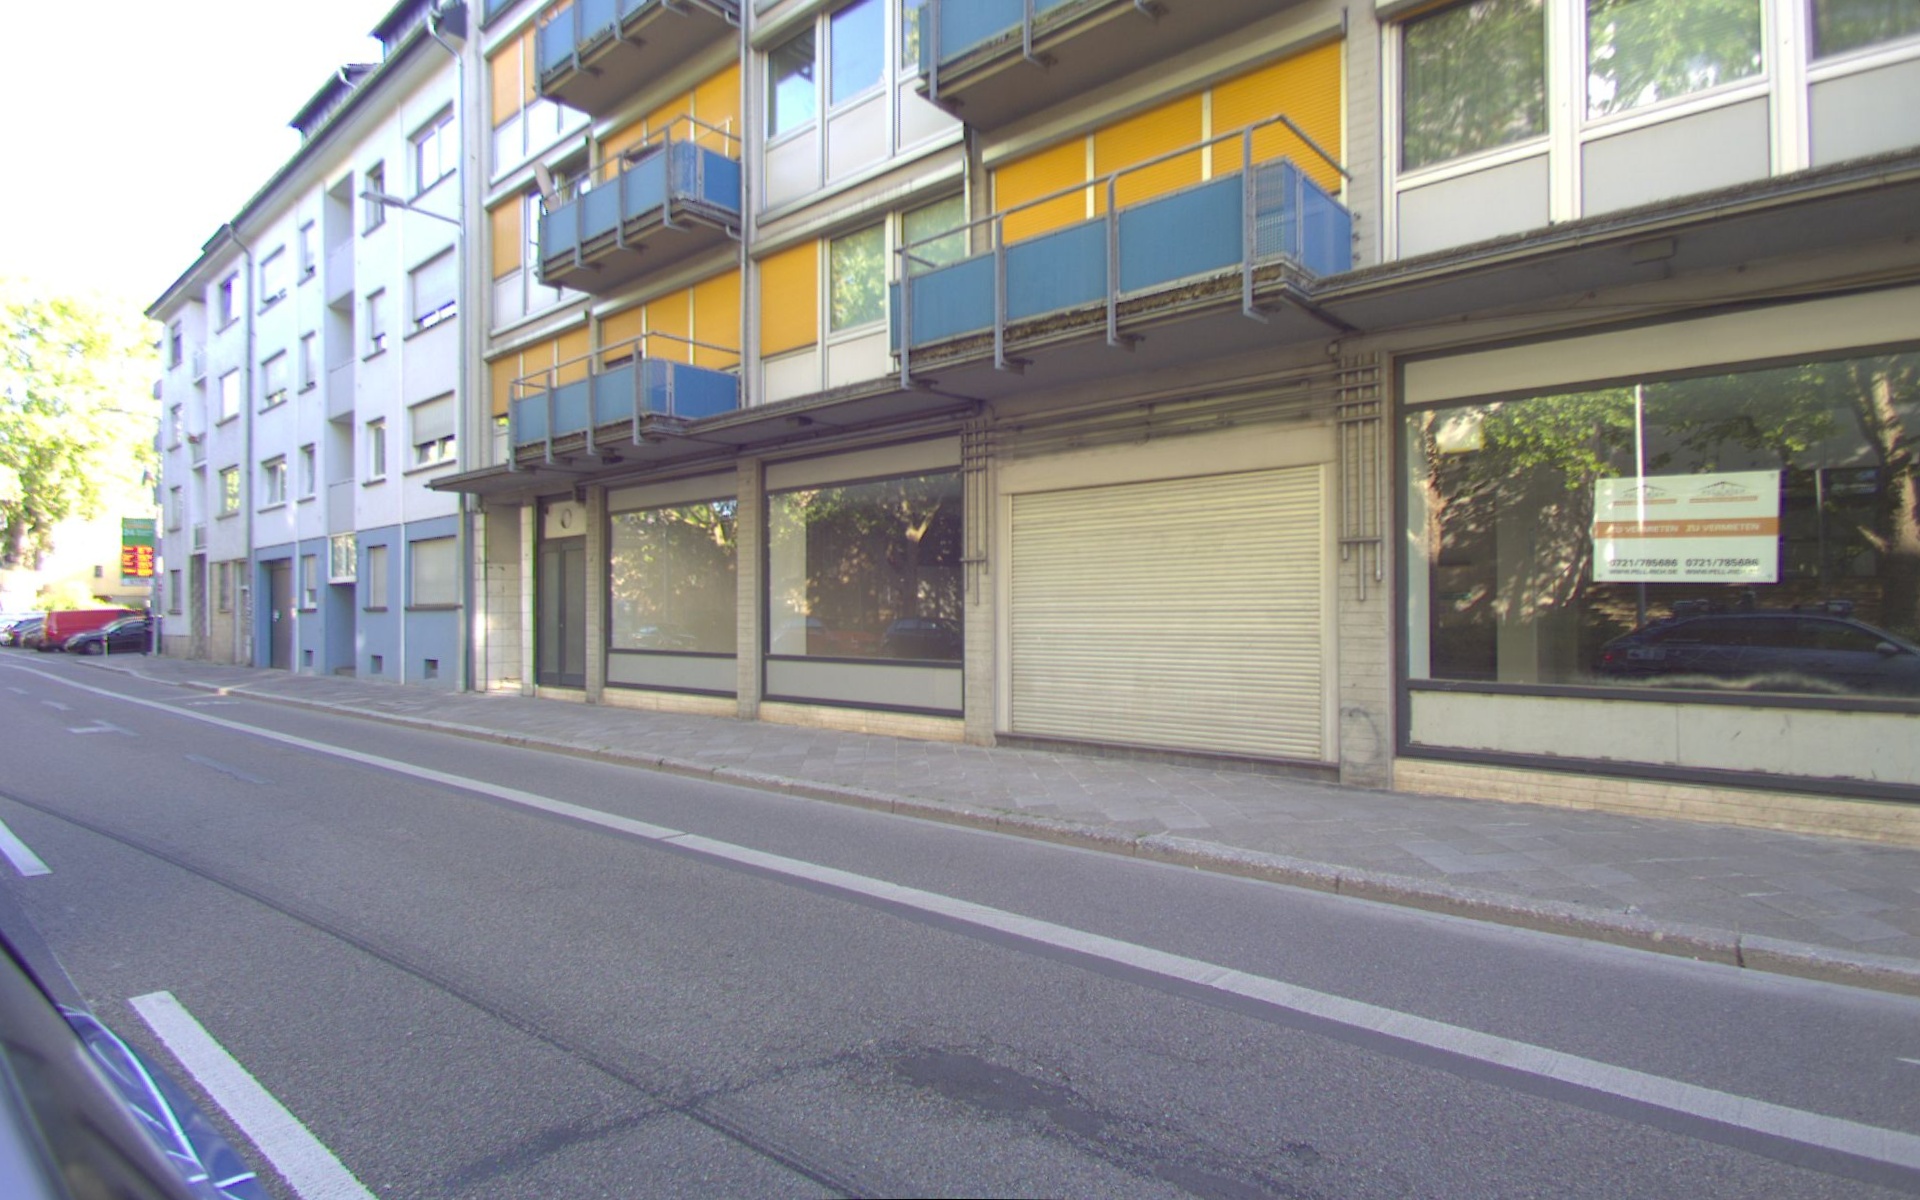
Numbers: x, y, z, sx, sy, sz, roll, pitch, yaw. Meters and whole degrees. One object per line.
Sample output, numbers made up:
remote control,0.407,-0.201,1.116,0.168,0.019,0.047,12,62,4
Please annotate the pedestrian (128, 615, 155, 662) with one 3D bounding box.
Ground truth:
pedestrian,-30.016,1.400,37.128,0.602,1.708,0.657,0,-1,-23

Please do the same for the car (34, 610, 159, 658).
car,-40.572,1.556,47.618,1.817,1.933,4.202,-1,1,40

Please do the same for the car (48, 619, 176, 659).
car,-38.191,1.729,45.656,1.652,1.480,4.201,-1,1,41

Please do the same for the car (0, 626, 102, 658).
car,-50.468,2.289,56.104,1.652,1.480,4.201,-1,1,41

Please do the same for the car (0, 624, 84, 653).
car,-55.883,2.295,61.197,1.652,1.480,4.201,-1,1,41

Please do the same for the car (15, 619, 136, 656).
car,-42.761,1.788,49.014,1.652,1.480,4.201,-1,1,41

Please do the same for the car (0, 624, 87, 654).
car,-54.501,2.275,59.789,1.652,1.480,4.201,-1,1,41

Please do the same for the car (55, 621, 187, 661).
car,-36.498,1.742,44.093,1.652,1.411,4.201,-1,1,41
